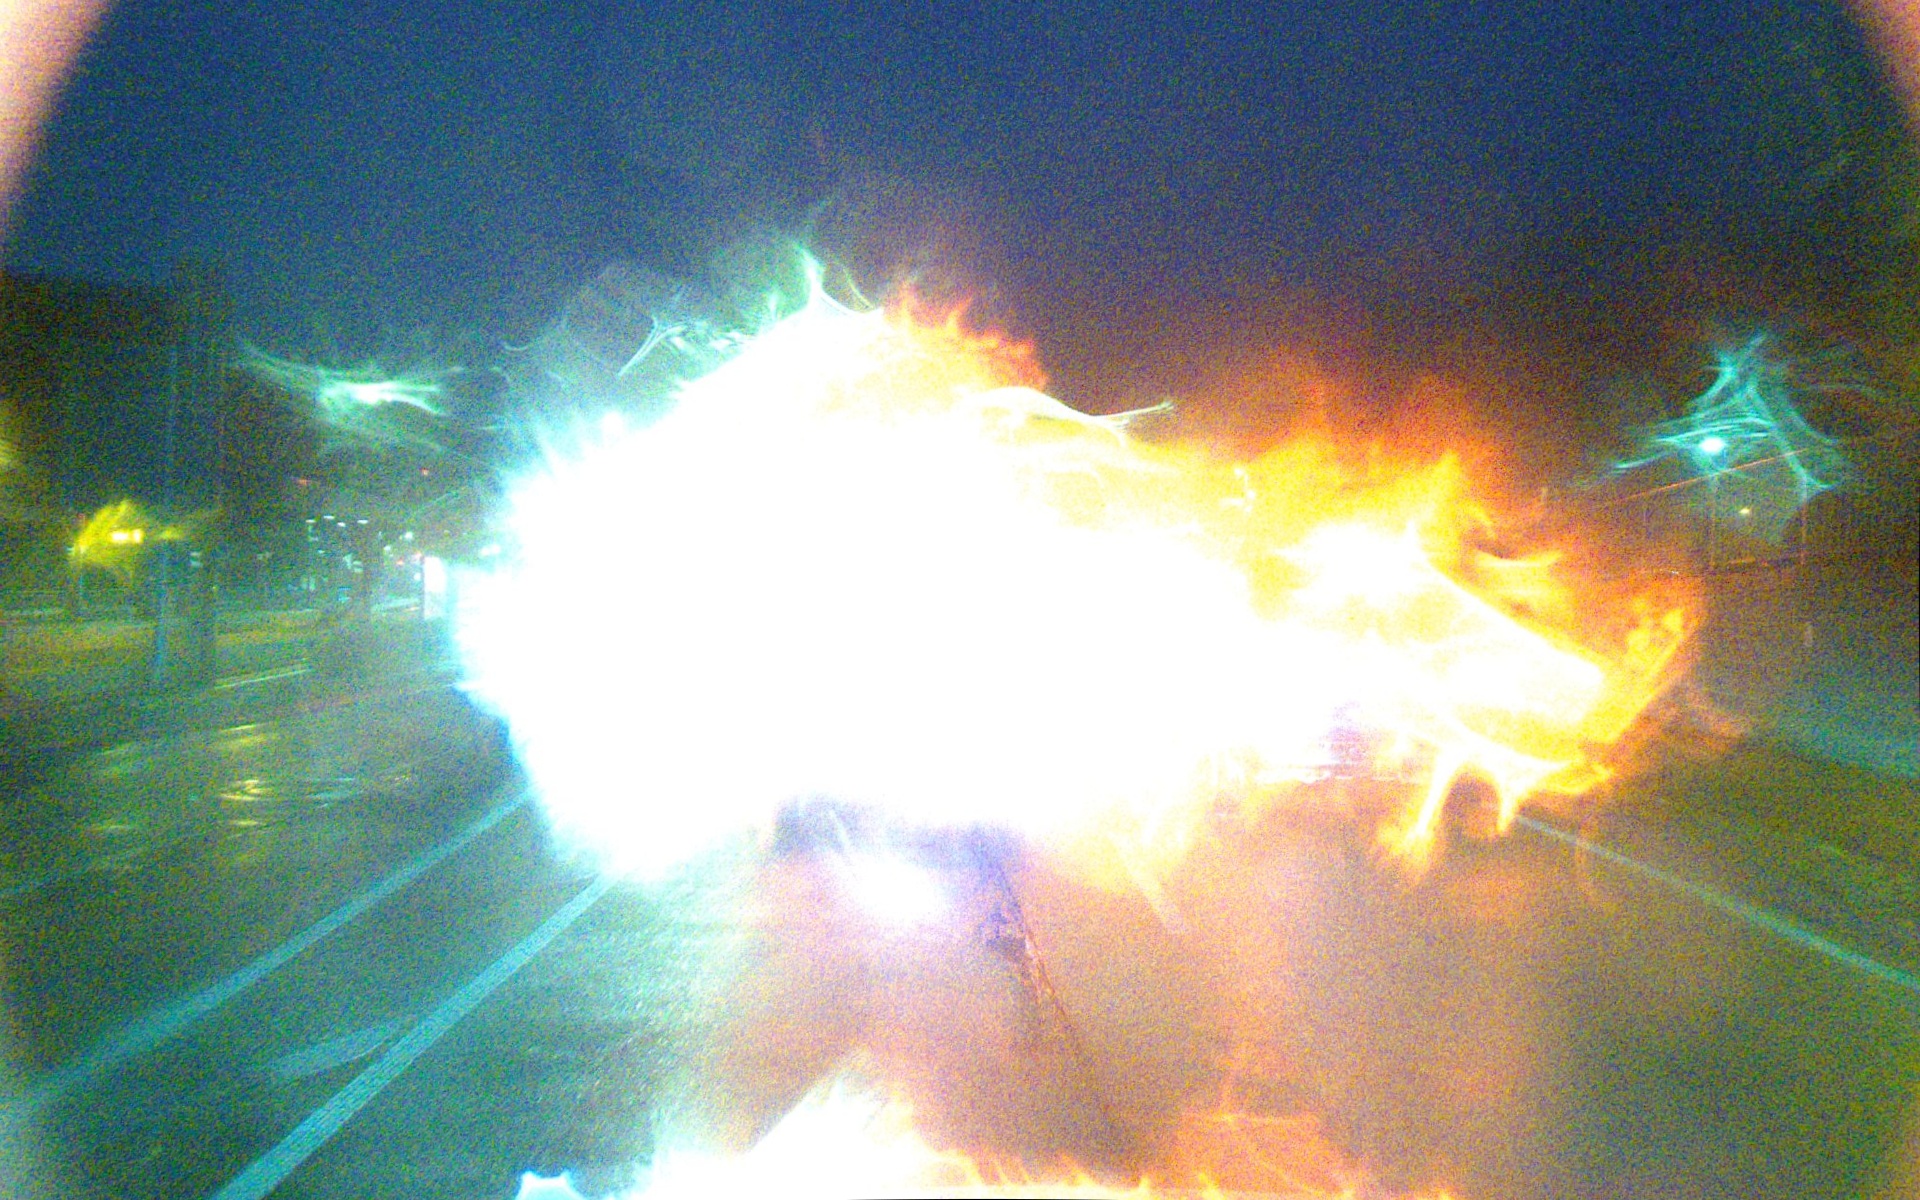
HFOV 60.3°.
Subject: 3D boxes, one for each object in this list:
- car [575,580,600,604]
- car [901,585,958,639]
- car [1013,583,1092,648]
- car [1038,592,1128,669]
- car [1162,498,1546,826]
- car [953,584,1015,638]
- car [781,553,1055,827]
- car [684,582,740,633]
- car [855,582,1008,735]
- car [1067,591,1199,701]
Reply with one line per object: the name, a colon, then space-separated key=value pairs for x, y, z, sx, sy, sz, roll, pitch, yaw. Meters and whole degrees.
car: x=-31.566 y=-0.684 z=140.160 sx=1.958 sy=1.945 sz=4.729 roll=0 pitch=0 yaw=-12
car: x=-1.045 y=0.363 z=54.709 sx=1.675 sy=1.666 sz=3.727 roll=-1 pitch=1 yaw=-4
car: x=2.206 y=0.339 z=40.428 sx=1.629 sy=1.475 sz=4.049 roll=0 pitch=1 yaw=-1
car: x=2.466 y=0.591 z=33.883 sx=1.629 sy=1.475 sz=4.050 roll=0 pitch=0 yaw=1
car: x=2.671 y=0.348 z=12.259 sx=1.902 sy=2.006 sz=4.219 roll=0 pitch=1 yaw=1
car: x=0.653 y=0.312 z=47.415 sx=1.629 sy=1.475 sz=4.049 roll=0 pitch=0 yaw=-1
car: x=-0.279 y=0.553 z=12.047 sx=1.660 sy=1.658 sz=3.852 roll=1 pitch=0 yaw=-1
car: x=-9.894 y=0.272 z=66.297 sx=1.955 sy=1.945 sz=4.737 roll=0 pitch=0 yaw=-6
car: x=-0.326 y=0.634 z=20.430 sx=1.674 sy=1.666 sz=3.730 roll=-1 pitch=1 yaw=0
car: x=2.520 y=0.621 z=24.960 sx=1.731 sy=1.475 sz=4.220 roll=0 pitch=1 yaw=3
